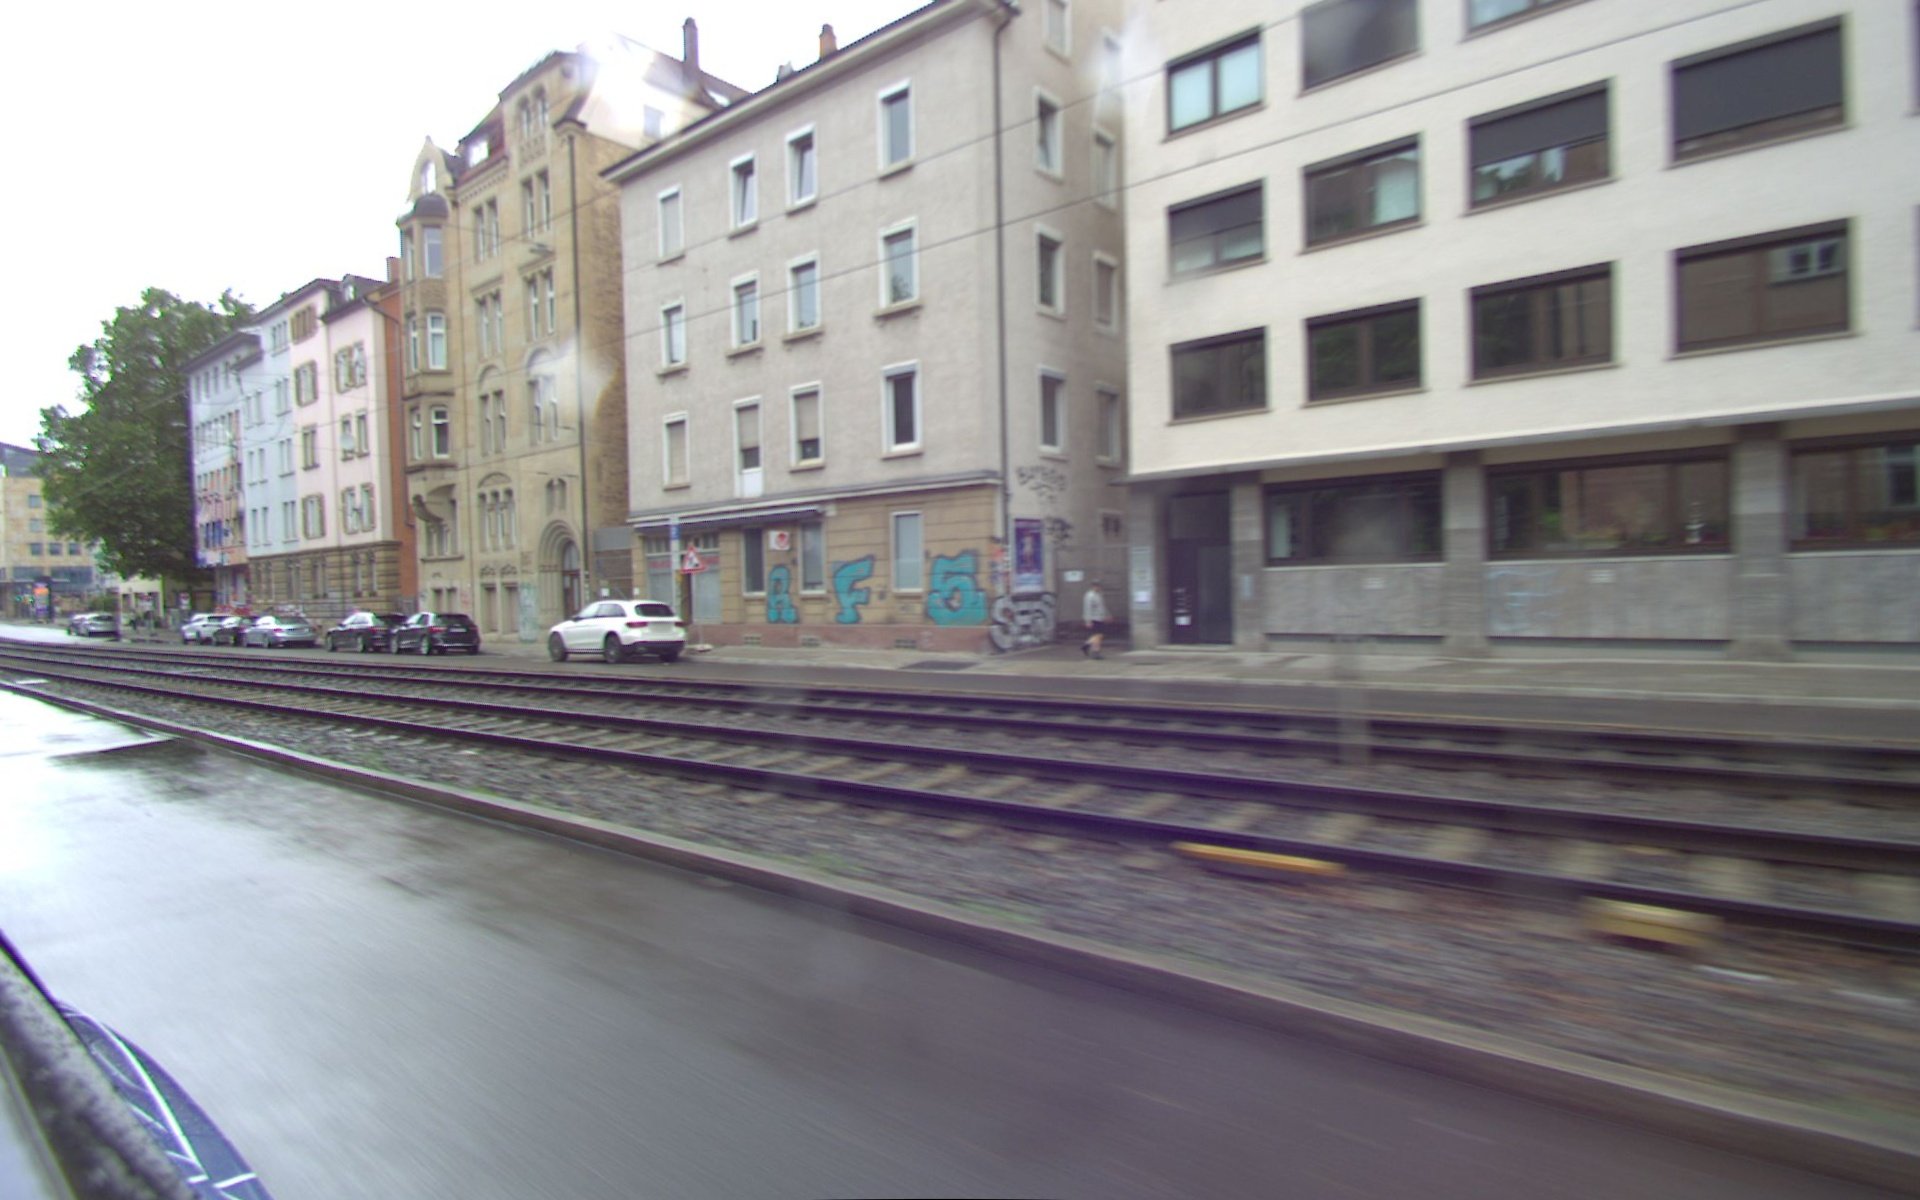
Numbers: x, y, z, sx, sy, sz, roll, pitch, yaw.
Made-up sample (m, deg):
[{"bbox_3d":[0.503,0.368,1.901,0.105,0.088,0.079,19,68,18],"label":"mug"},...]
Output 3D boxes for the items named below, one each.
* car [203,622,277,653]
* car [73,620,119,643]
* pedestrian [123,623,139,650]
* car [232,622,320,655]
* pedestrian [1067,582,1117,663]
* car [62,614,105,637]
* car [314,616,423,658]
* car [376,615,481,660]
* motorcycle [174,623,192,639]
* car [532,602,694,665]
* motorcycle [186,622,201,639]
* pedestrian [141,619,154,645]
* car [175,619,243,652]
[{"bbox_3d":[-34.635,1.772,48.643,4.261,1.408,1.820,-1,-1,39],"label":"car"},{"bbox_3d":[-60.566,2.186,70.917,4.225,1.553,1.819,-1,-1,41],"label":"car"},{"bbox_3d":[-60.115,2.635,73.396,0.536,1.883,0.798,-2,0,43],"label":"pedestrian"},{"bbox_3d":[-30.518,1.695,45.111,5.019,1.408,1.973,-1,-2,41],"label":"car"},{"bbox_3d":[2.738,0.460,21.000,0.798,1.624,0.541,-1,4,42],"label":"pedestrian"},{"bbox_3d":[-64.100,1.857,73.963,4.225,1.553,1.819,-1,-1,41],"label":"car"},{"bbox_3d":[-22.380,1.375,38.211,5.017,1.467,1.973,-1,-2,40],"label":"car"},{"bbox_3d":[-18.309,1.267,34.819,4.166,1.467,1.719,-1,-2,40],"label":"car"},{"bbox_3d":[-55.844,2.226,72.725,2.564,1.154,0.466,-1,1,41],"label":"motorcycle"},{"bbox_3d":[-9.435,0.885,27.344,4.745,1.548,1.973,-1,-2,40],"label":"car"},{"bbox_3d":[-53.515,2.116,70.645,2.016,1.190,0.432,-1,1,41],"label":"motorcycle"},{"bbox_3d":[-59.369,2.344,73.908,0.536,1.883,0.642,-2,0,43],"label":"pedestrian"},{"bbox_3d":[-38.749,1.787,52.197,4.223,1.617,1.820,-1,-1,39],"label":"car"}]
